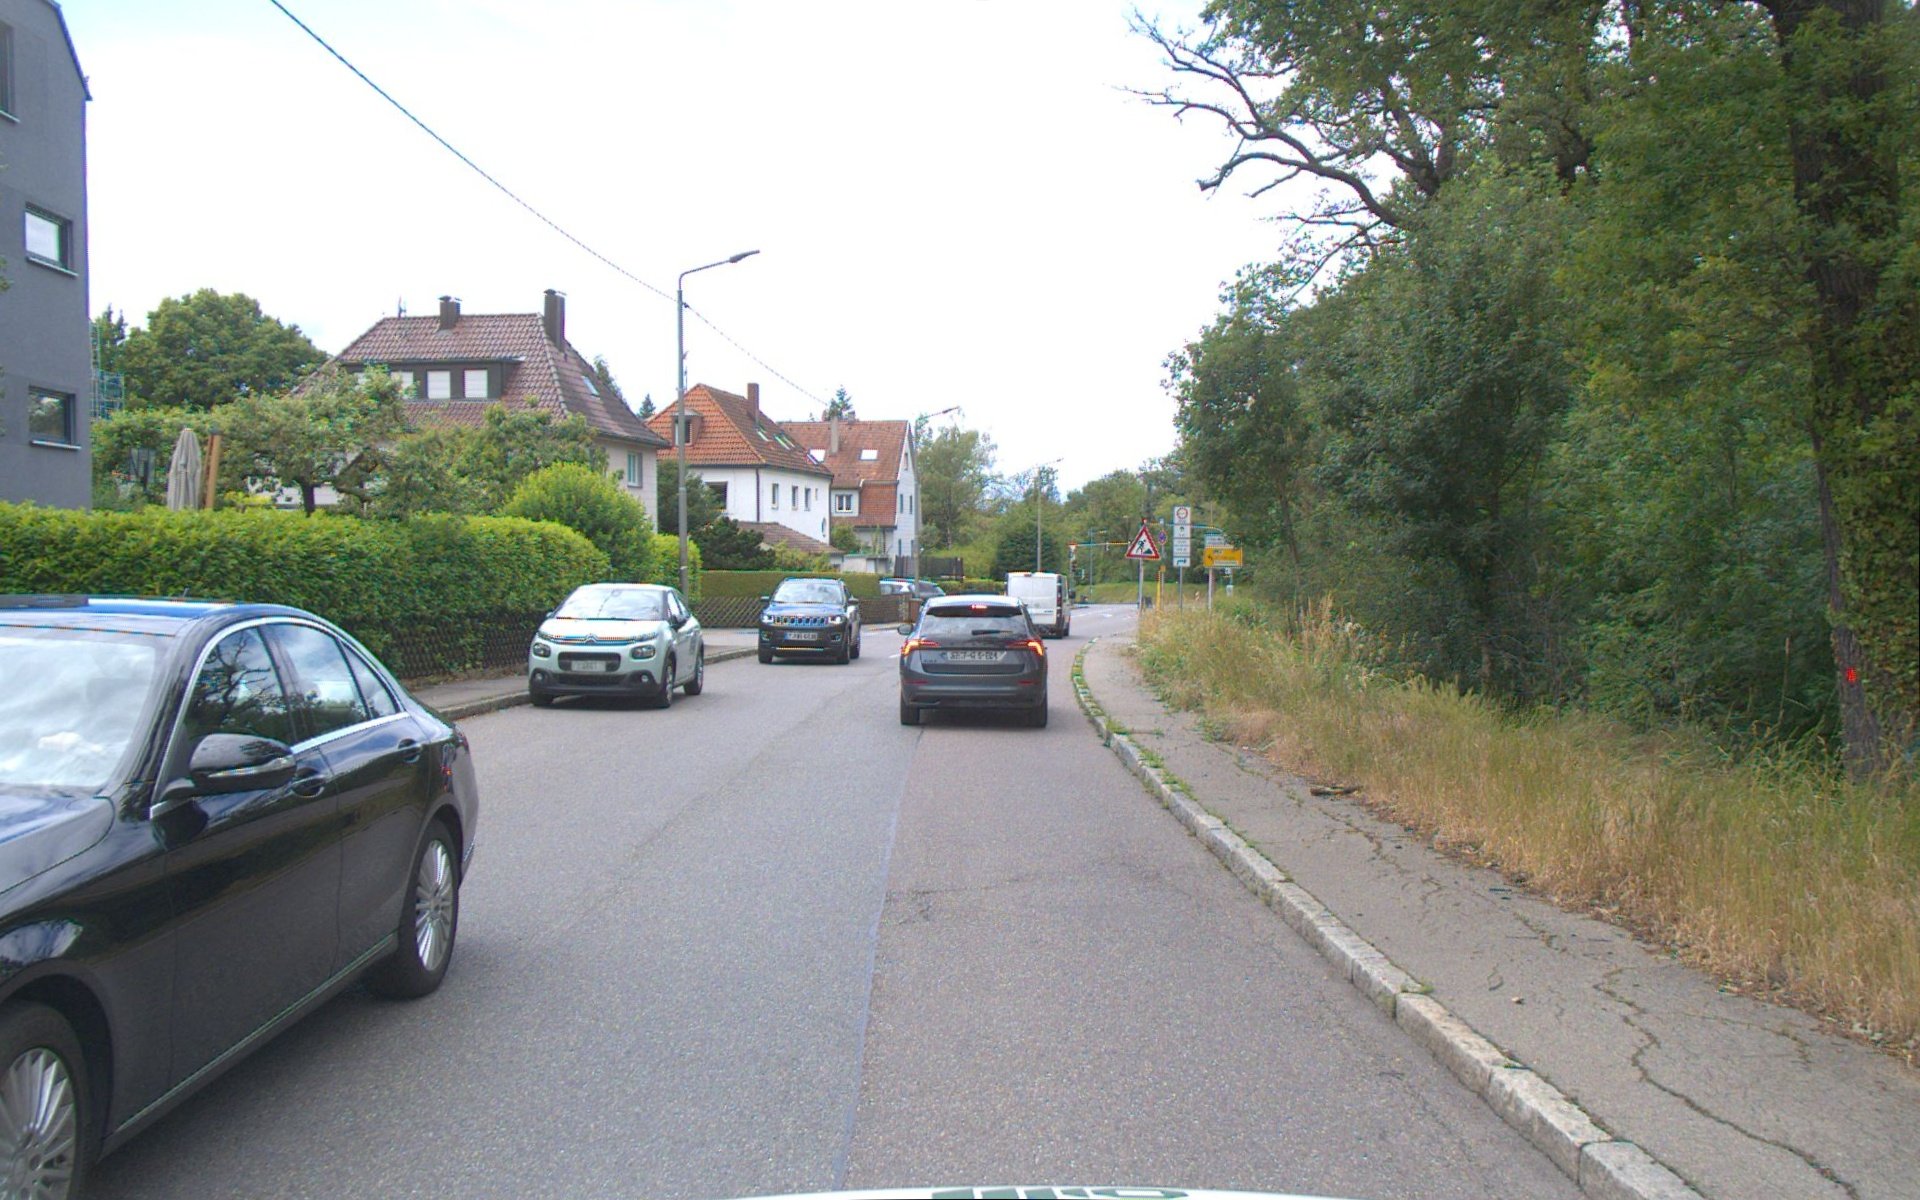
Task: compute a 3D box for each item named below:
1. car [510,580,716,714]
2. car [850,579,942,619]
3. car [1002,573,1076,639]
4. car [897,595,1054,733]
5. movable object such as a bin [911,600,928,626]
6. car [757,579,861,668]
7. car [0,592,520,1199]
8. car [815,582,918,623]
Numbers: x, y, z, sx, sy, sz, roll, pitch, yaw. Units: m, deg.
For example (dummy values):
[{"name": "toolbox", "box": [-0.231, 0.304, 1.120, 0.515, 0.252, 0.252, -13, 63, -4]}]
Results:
[{"name": "car", "box": [-4.316, 0.542, 21.189, 1.747, 1.526, 4.015, 1, 0, 0]}, {"name": "car", "box": [-2.771, -0.049, 72.435, 3.904, 1.735, 1.917, 0, 0, 1]}, {"name": "car", "box": [2.535, 0.165, 51.837, 2.028, 1.956, 4.926, 1, 0, 6]}, {"name": "car", "box": [0.111, 0.695, 20.151, 1.693, 1.464, 4.322, 1, 0, -2]}, {"name": "movable object such as a bin", "box": [-1.554, 0.500, 63.840, 0.586, 0.967, 0.580, 0, 0, 6]}, {"name": "car", "box": [-2.990, 0.421, 33.524, 1.796, 1.625, 4.323, 1, 1, -2]}, {"name": "car", "box": [-2.731, 0.713, 4.694, 1.825, 1.439, 4.590, 1, 0, -2]}, {"name": "car", "box": [-3.786, 0.097, 67.479, 3.902, 1.646, 2.002, 0, 0, 8]}]
